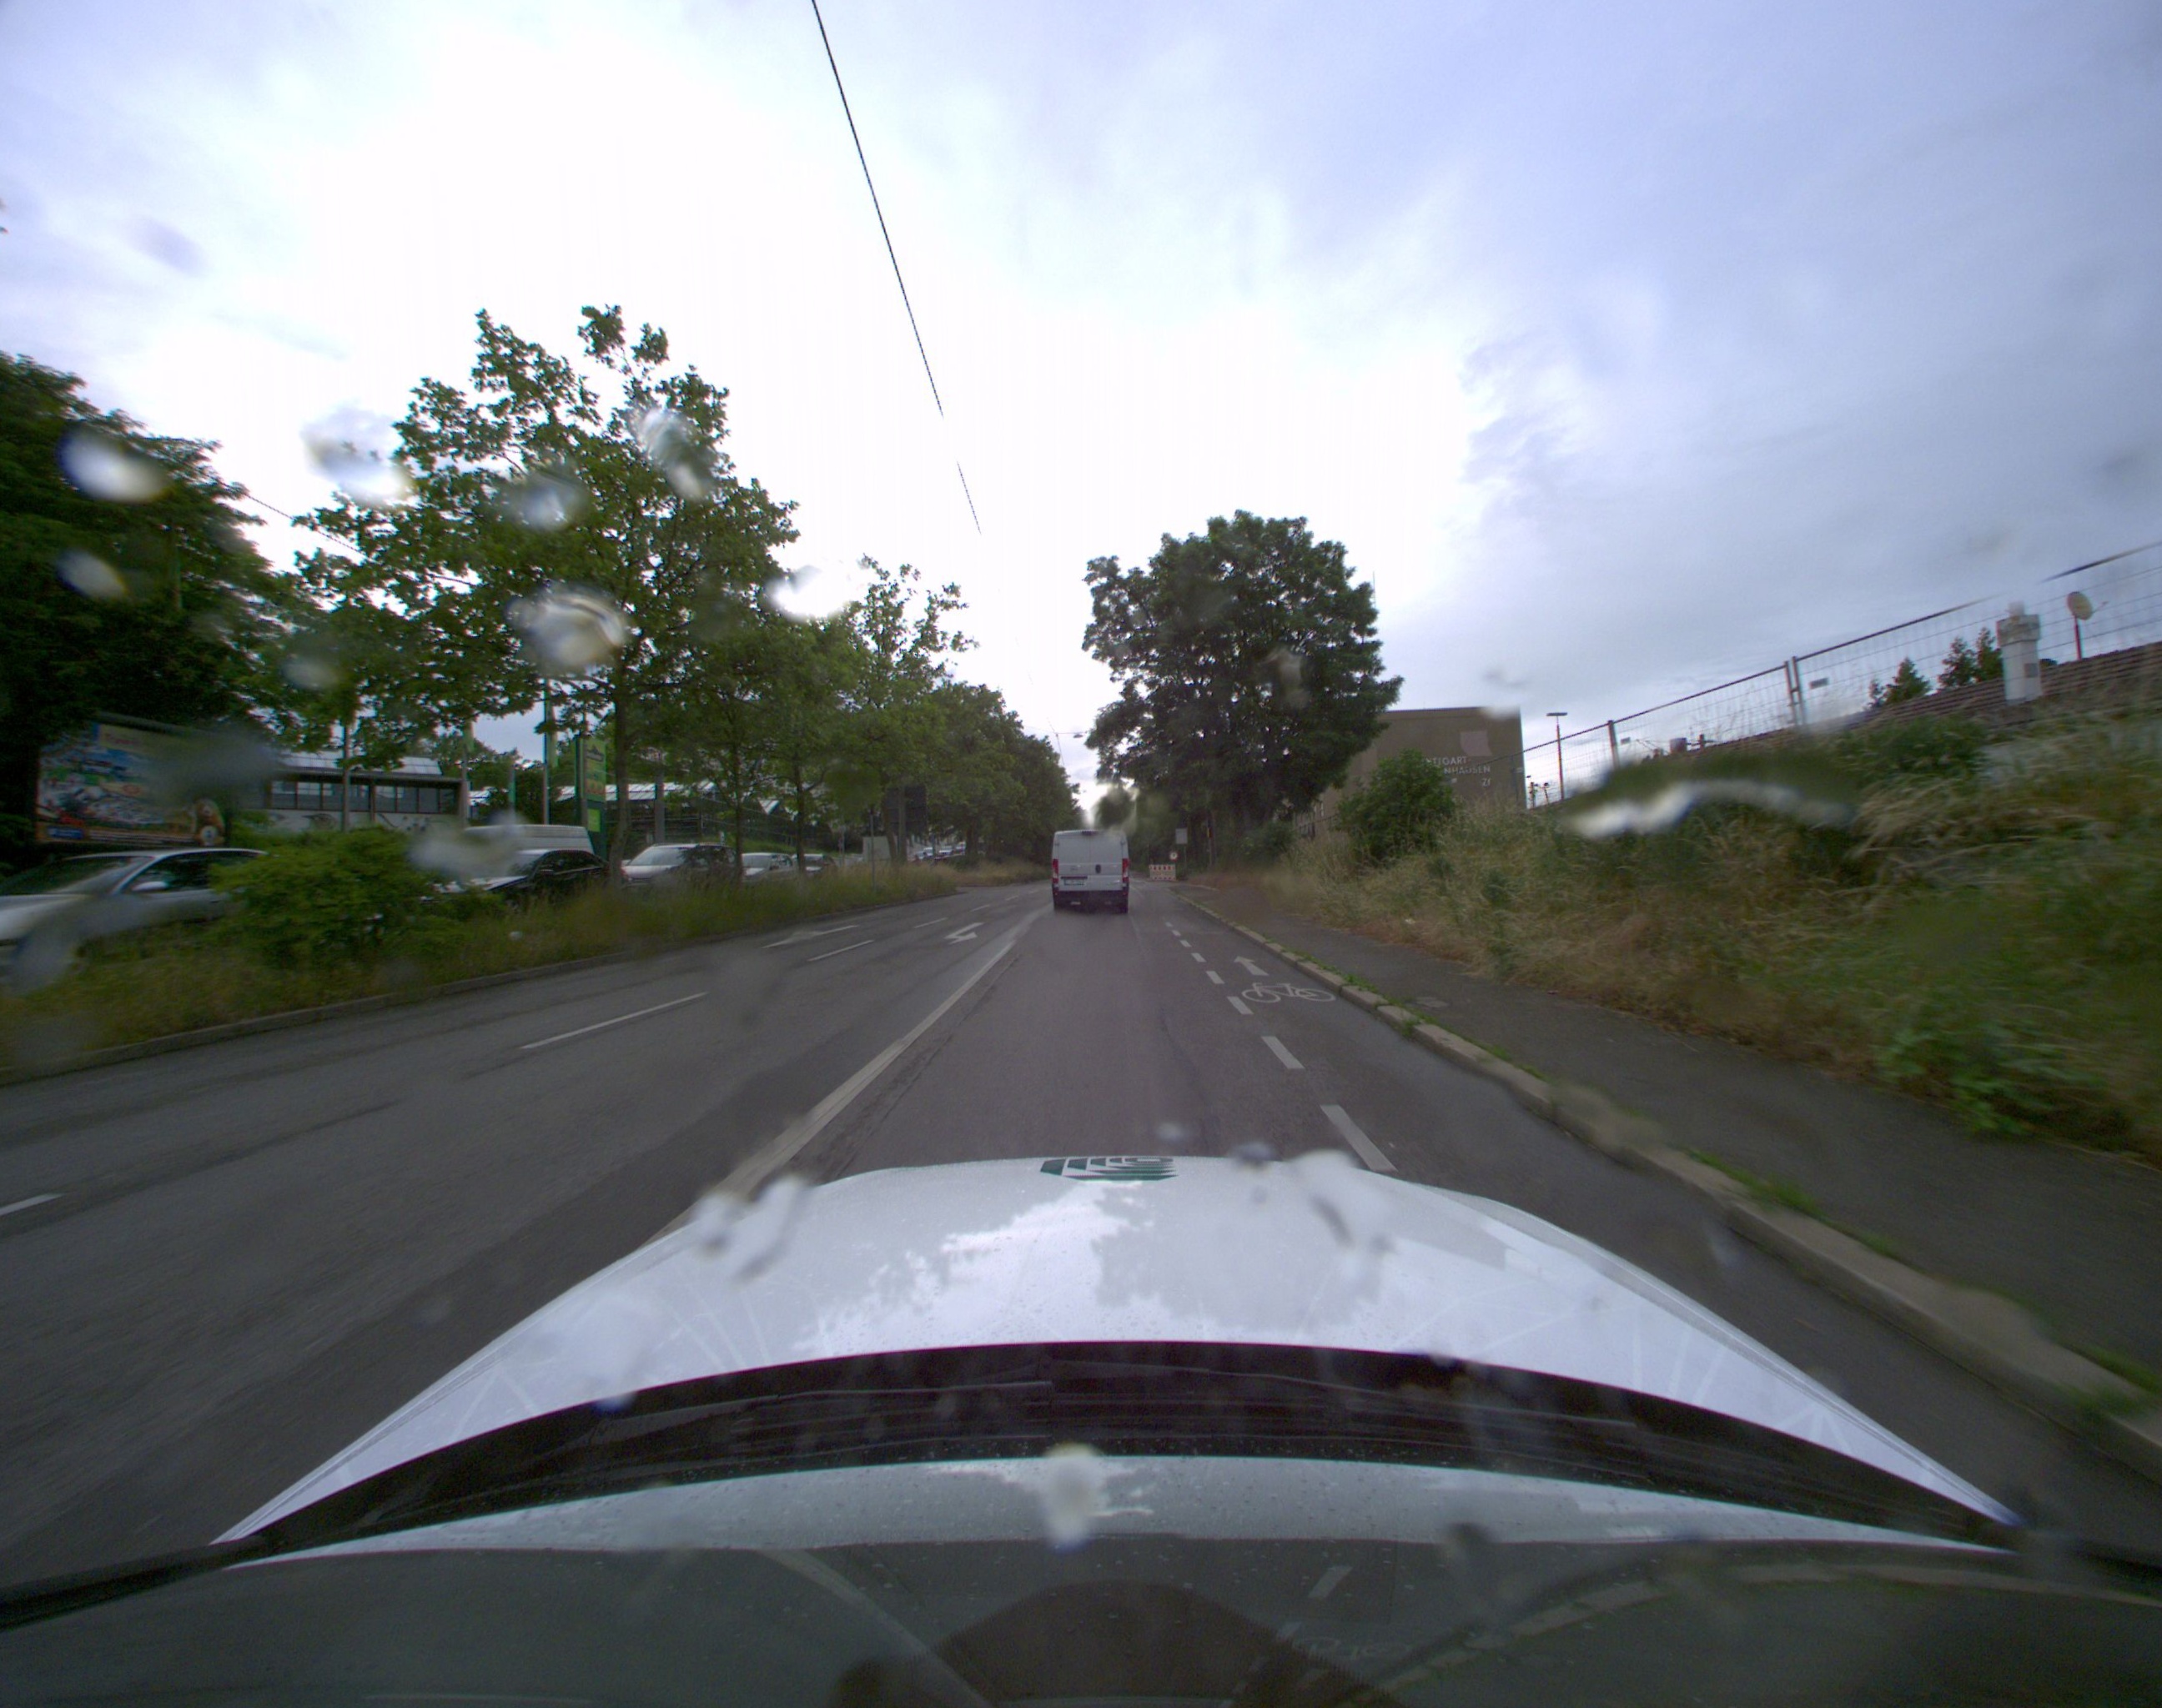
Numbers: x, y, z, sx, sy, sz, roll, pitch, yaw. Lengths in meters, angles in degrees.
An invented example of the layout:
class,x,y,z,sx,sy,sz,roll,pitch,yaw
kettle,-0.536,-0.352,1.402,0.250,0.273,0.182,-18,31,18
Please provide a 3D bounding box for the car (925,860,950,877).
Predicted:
class,x,y,z,sx,sy,sz,roll,pitch,yaw
car,-10.649,1.075,60.490,1.346,1.131,2.751,-2,-2,-1

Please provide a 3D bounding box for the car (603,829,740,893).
class,x,y,z,sx,sy,sz,roll,pitch,yaw
car,-10.539,0.244,21.257,1.648,1.452,3.645,-3,-2,0

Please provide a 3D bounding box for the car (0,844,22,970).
class,x,y,z,sx,sy,sz,roll,pitch,yaw
car,-15.425,0.774,9.313,1.587,1.695,3.781,-3,1,0

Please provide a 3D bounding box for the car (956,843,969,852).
class,x,y,z,sx,sy,sz,roll,pitch,yaw
car,-18.161,-0.984,124.579,1.595,1.250,2.908,-2,-2,-2

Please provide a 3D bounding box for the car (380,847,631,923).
class,x,y,z,sx,sy,sz,roll,pitch,yaw
car,-10.769,0.515,15.698,1.691,1.205,4.221,-3,0,2

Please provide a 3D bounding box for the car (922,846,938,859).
class,x,y,z,sx,sy,sz,roll,pitch,yaw
car,-17.336,-0.172,93.693,1.379,1.298,3.012,-2,-2,-2

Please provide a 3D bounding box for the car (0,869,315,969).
class,x,y,z,sx,sy,sz,roll,pitch,yaw
car,-15.858,1.058,14.128,1.625,1.457,3.681,-2,-2,0

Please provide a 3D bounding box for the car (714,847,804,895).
class,x,y,z,sx,sy,sz,roll,pitch,yaw
car,-10.327,0.591,26.368,1.356,1.395,3.707,-3,-2,0

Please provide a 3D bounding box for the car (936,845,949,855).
class,x,y,z,sx,sy,sz,roll,pitch,yaw
car,-18.351,-0.522,107.881,1.209,1.133,2.452,-3,-2,1

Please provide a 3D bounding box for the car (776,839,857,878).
class,x,y,z,sx,sy,sz,roll,pitch,yaw
car,-10.345,0.231,32.228,1.531,1.293,4.546,-3,-2,2

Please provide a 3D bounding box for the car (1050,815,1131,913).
class,x,y,z,sx,sy,sz,roll,pitch,yaw
car,0.307,0.261,23.560,2.042,2.516,4.945,1,0,1

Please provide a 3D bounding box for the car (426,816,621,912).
class,x,y,z,sx,sy,sz,roll,pitch,yaw
car,-16.254,0.229,24.233,1.958,2.443,5.651,-3,1,-2

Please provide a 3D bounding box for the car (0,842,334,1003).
class,x,y,z,sx,sy,sz,roll,pitch,yaw
car,-11.145,0.673,9.223,1.587,1.540,3.992,-3,1,0

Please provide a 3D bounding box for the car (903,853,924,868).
class,x,y,z,sx,sy,sz,roll,pitch,yaw
car,-17.011,0.655,82.718,1.355,1.310,3.086,-3,-2,1
